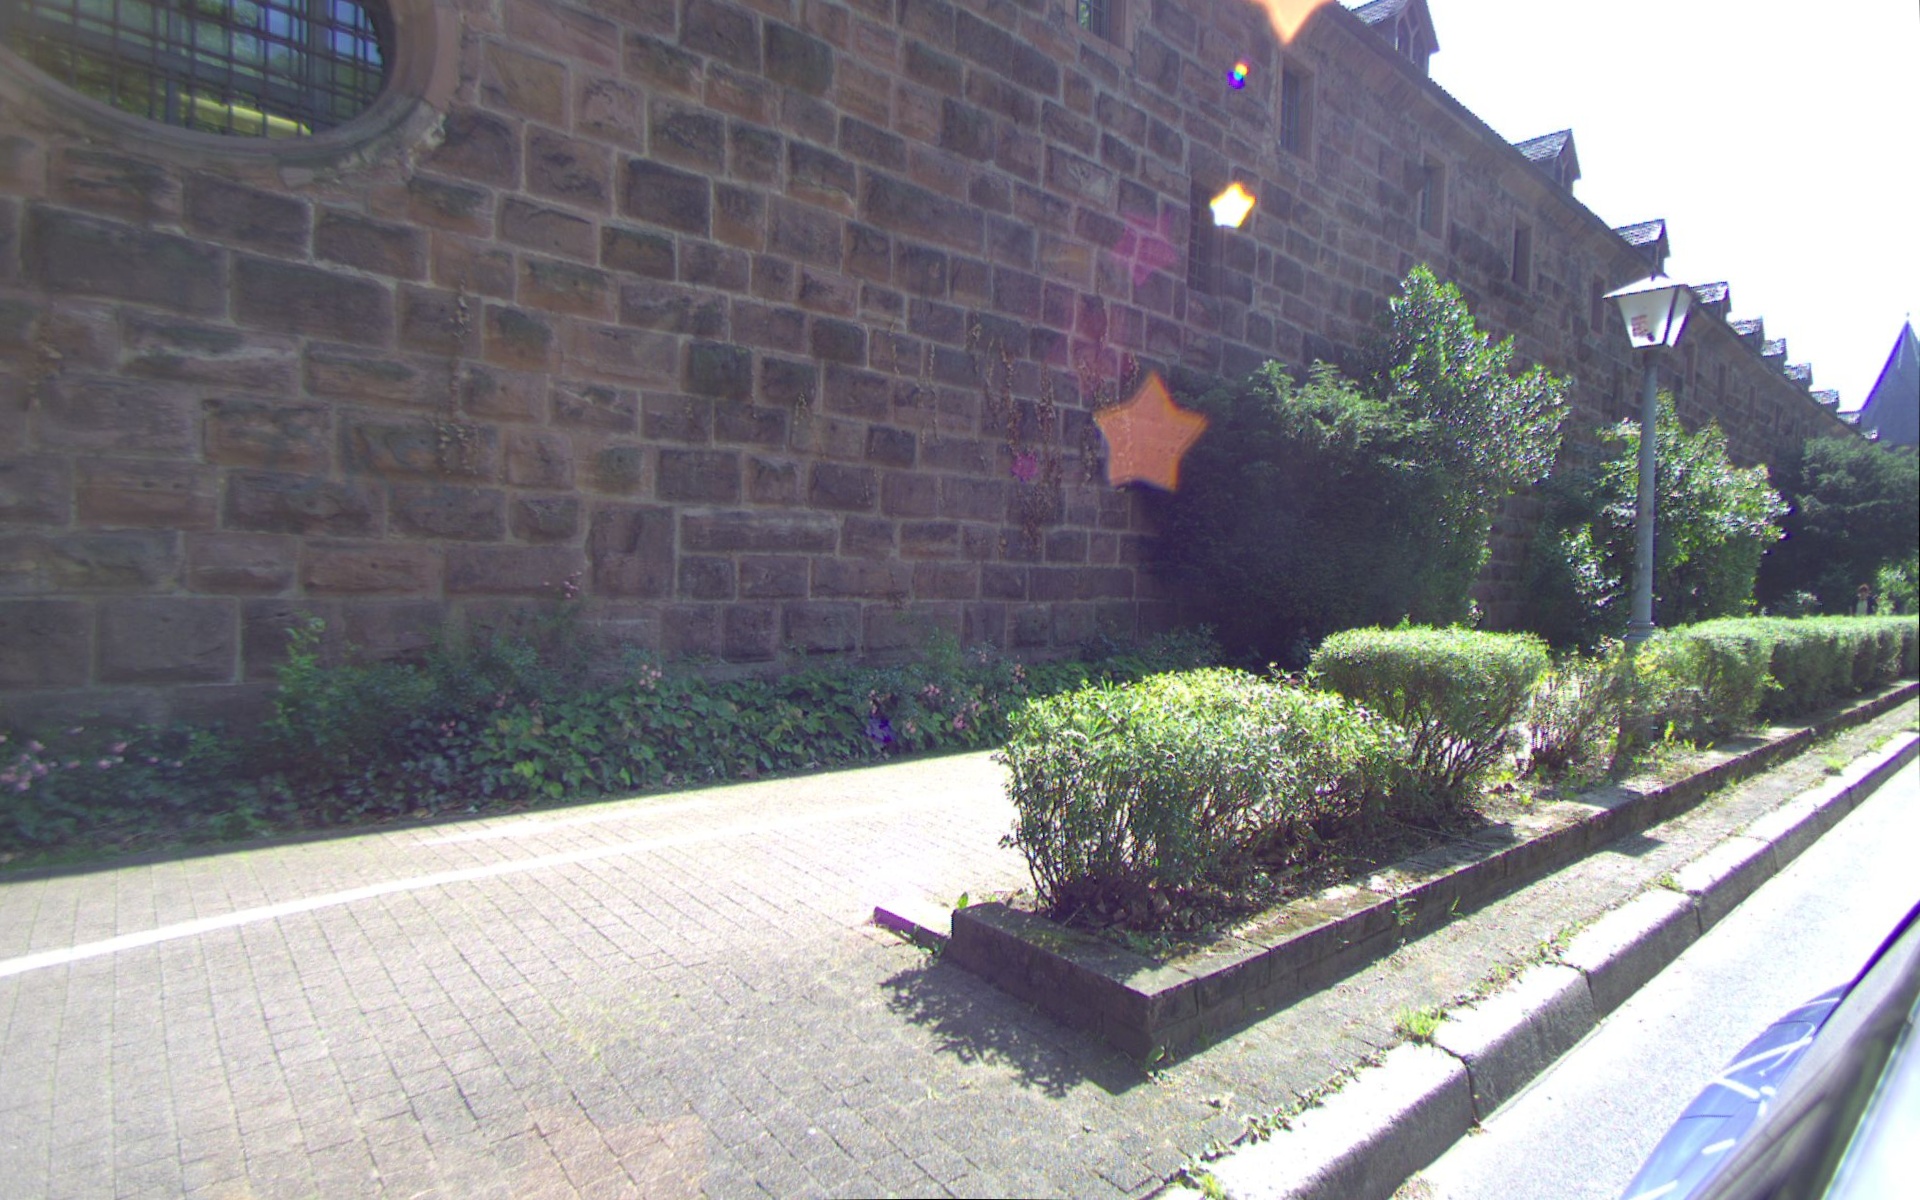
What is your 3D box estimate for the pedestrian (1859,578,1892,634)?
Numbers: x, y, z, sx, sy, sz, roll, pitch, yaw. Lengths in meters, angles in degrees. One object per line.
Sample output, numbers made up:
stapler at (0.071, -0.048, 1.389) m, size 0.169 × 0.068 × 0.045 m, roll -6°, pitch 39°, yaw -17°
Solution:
pedestrian at (26.620, 0.169, 29.426) m, size 0.554 × 1.583 × 0.642 m, roll 0°, pitch 0°, yaw -41°
